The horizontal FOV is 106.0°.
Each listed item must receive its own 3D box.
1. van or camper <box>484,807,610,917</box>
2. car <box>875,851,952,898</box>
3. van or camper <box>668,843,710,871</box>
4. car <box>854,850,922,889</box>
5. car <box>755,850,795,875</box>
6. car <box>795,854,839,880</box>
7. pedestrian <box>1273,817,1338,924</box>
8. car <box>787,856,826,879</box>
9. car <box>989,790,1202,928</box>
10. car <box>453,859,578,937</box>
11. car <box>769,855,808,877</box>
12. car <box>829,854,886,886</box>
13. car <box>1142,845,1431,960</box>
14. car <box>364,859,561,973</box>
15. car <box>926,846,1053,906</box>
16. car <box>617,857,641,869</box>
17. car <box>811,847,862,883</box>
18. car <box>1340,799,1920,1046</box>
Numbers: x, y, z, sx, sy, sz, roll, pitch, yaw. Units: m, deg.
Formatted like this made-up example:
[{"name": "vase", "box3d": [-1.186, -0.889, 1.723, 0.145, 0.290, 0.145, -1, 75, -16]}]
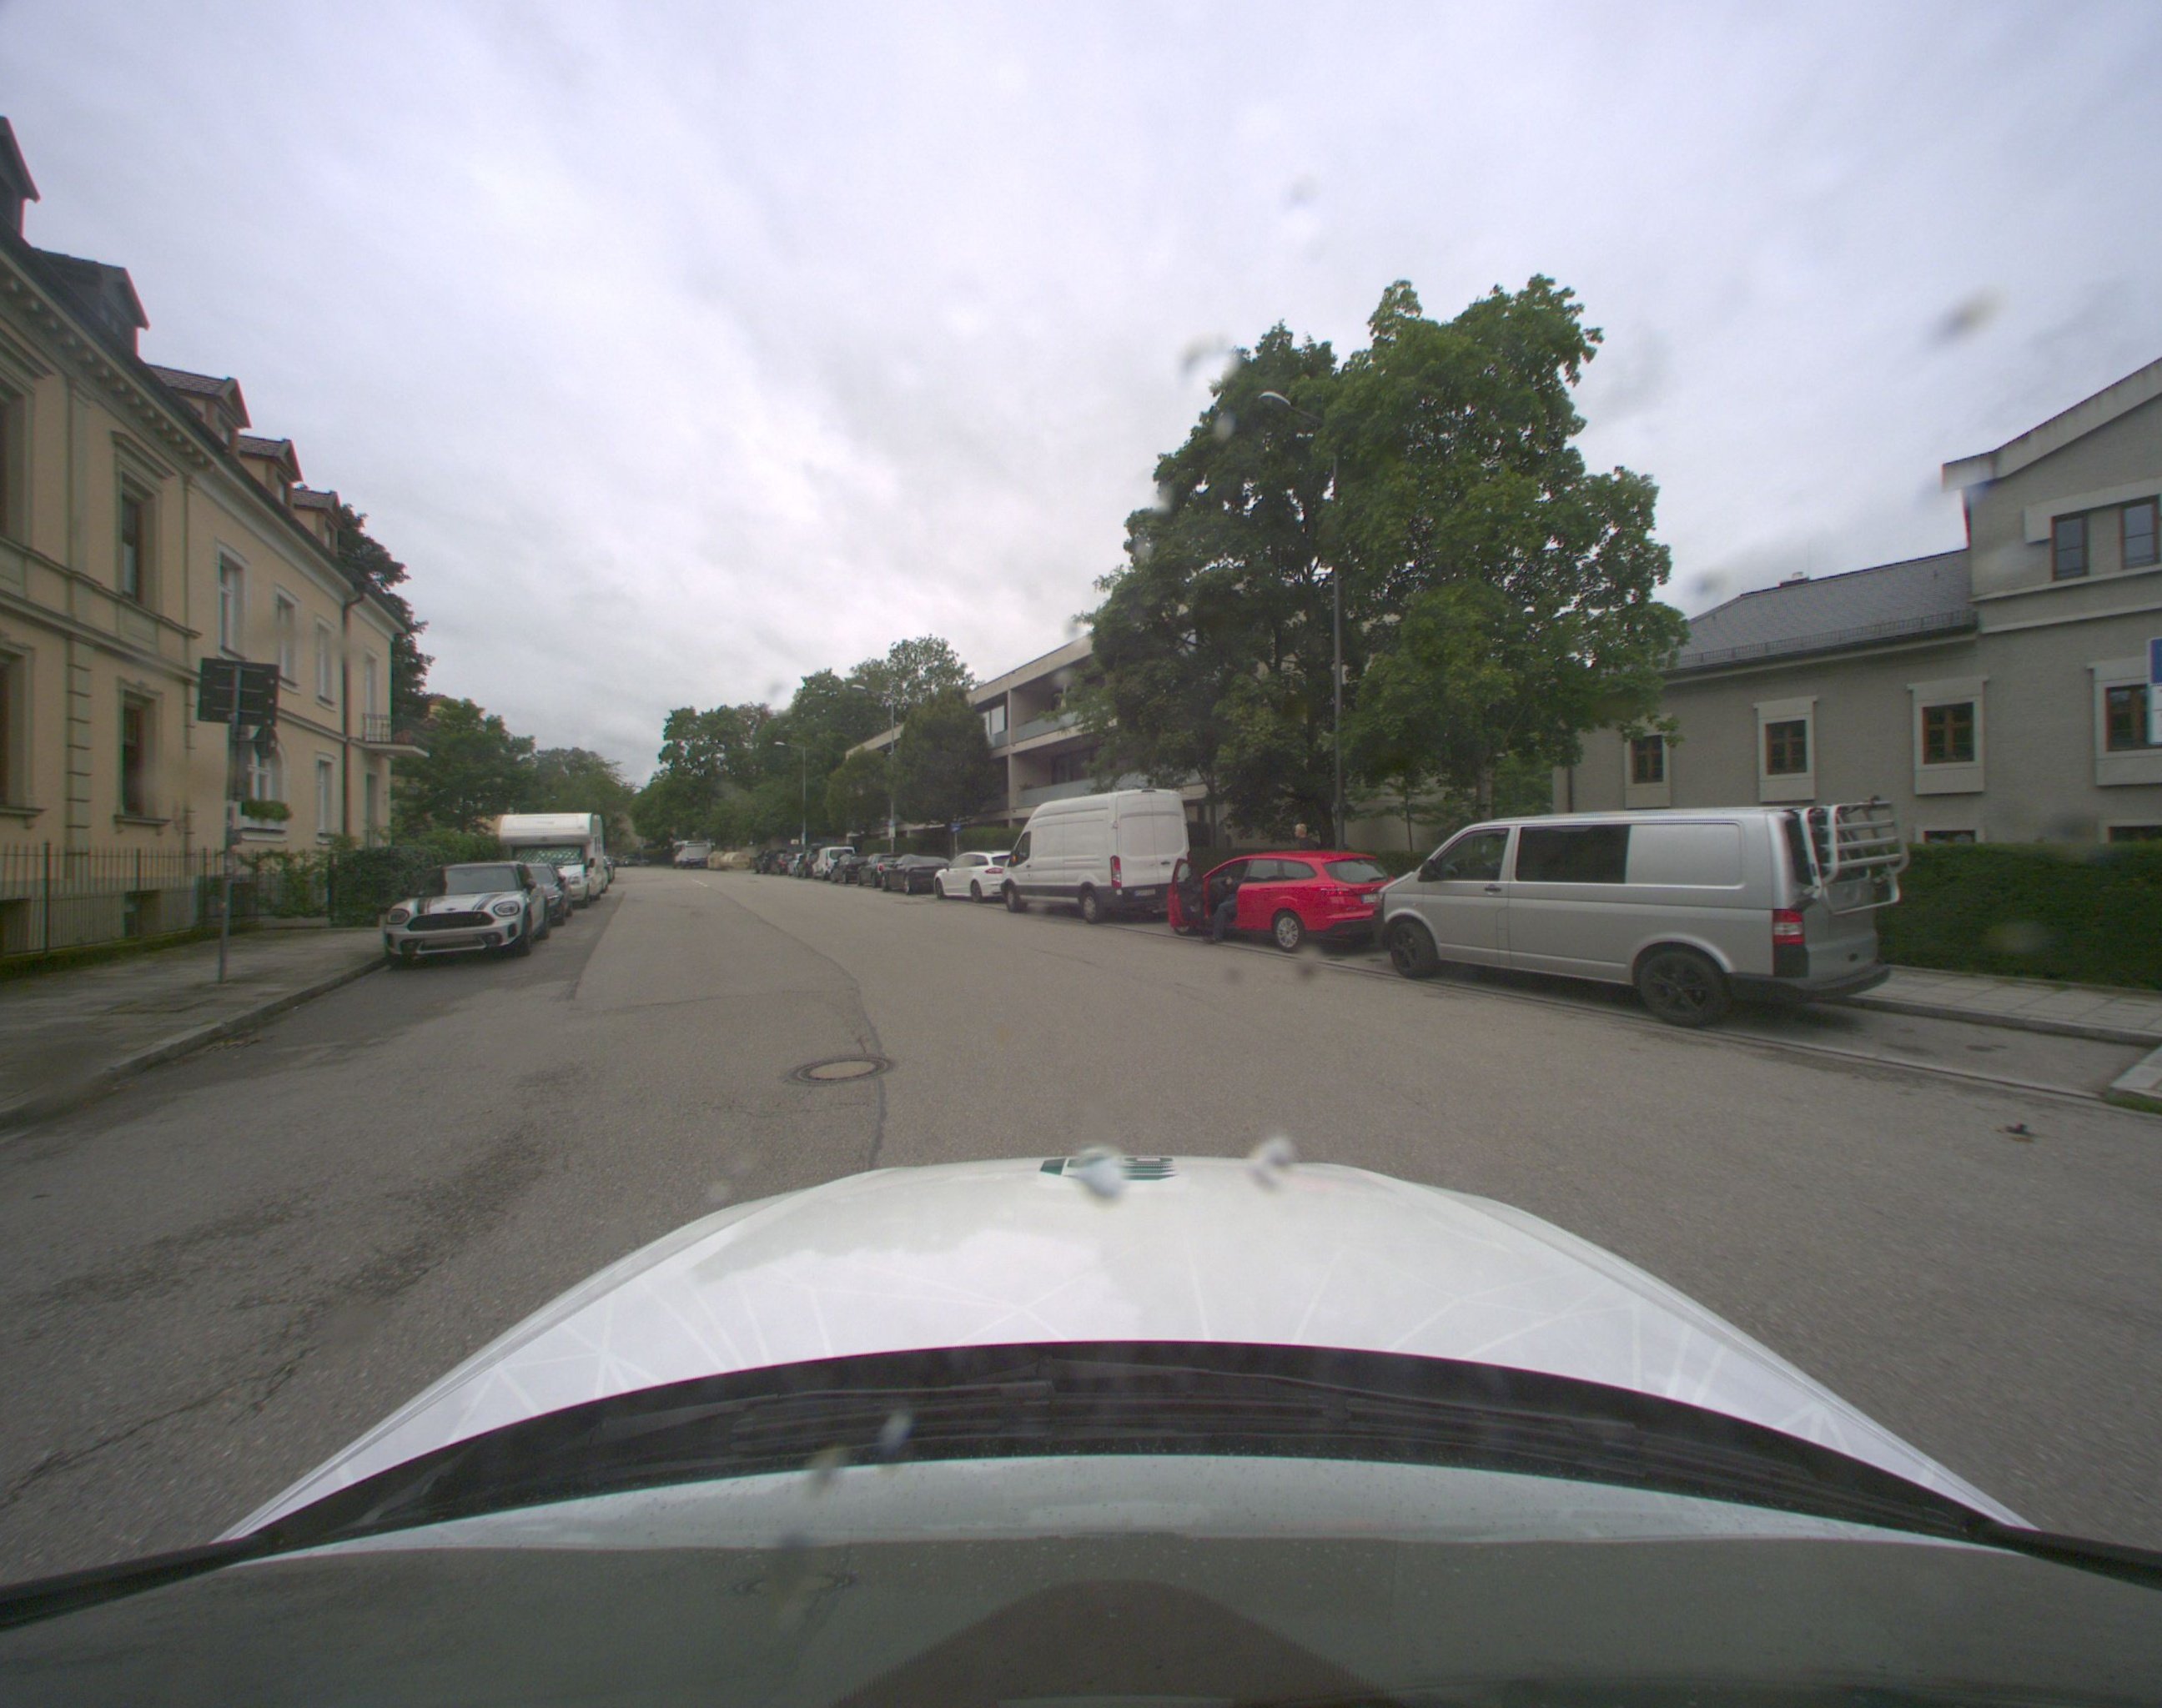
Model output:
[{"name": "van or camper", "box3d": [-16.466, 0.185, 25.558, 2.469, 2.940, 7.147, -2, 1, -27]}, {"name": "car", "box3d": [-6.297, 0.679, 30.141, 1.289, 1.506, 5.159, -3, 2, -29]}, {"name": "van or camper", "box3d": [-42.401, 0.288, 87.993, 2.292, 2.906, 7.190, 0, 0, -41]}, {"name": "car", "box3d": [-8.390, 0.621, 35.158, 1.737, 1.529, 4.165, -2, 1, -29]}, {"name": "car", "box3d": [-23.702, 0.701, 63.005, 2.001, 1.871, 5.027, 0, -1, -31]}, {"name": "car", "box3d": [-16.068, 0.780, 49.446, 1.758, 1.480, 4.555, 0, 0, -29]}, {"name": "pedestrian", "box3d": [4.155, 0.300, 15.110, 0.798, 1.903, 0.858, 1, 0, -22]}, {"name": "car", "box3d": [-18.095, 0.855, 53.551, 1.758, 1.480, 3.851, 0, 0, -29]}, {"name": "car", "box3d": [0.082, 0.032, 19.054, 2.093, 2.686, 6.029, -3, 2, -30]}, {"name": "car", "box3d": [-13.315, 0.926, 19.457, 1.948, 1.508, 4.776, -3, 1, -30]}, {"name": "car", "box3d": [-21.006, 0.825, 58.418, 1.759, 1.539, 4.524, 0, 0, -31]}, {"name": "car", "box3d": [-10.970, 0.747, 39.777, 1.758, 1.464, 4.203, -1, 0, -29]}, {"name": "car", "box3d": [3.188, 0.644, 13.720, 1.883, 1.506, 4.791, -3, 2, -30]}, {"name": "car", "box3d": [-10.580, 0.918, 14.321, 1.947, 1.535, 4.490, -3, 1, -28]}, {"name": "car", "box3d": [-2.933, 0.584, 24.979, 1.883, 1.569, 4.951, -3, 2, -32]}, {"name": "car", "box3d": [-59.691, 1.188, 107.455, 2.908, 1.536, 1.756, -2, 0, 38]}, {"name": "car", "box3d": [-13.557, 0.588, 45.003, 1.832, 1.860, 4.854, 1, 0, -27]}, {"name": "car", "box3d": [5.491, 0.491, 9.067, 1.946, 1.904, 5.026, -3, 2, -28]}]
